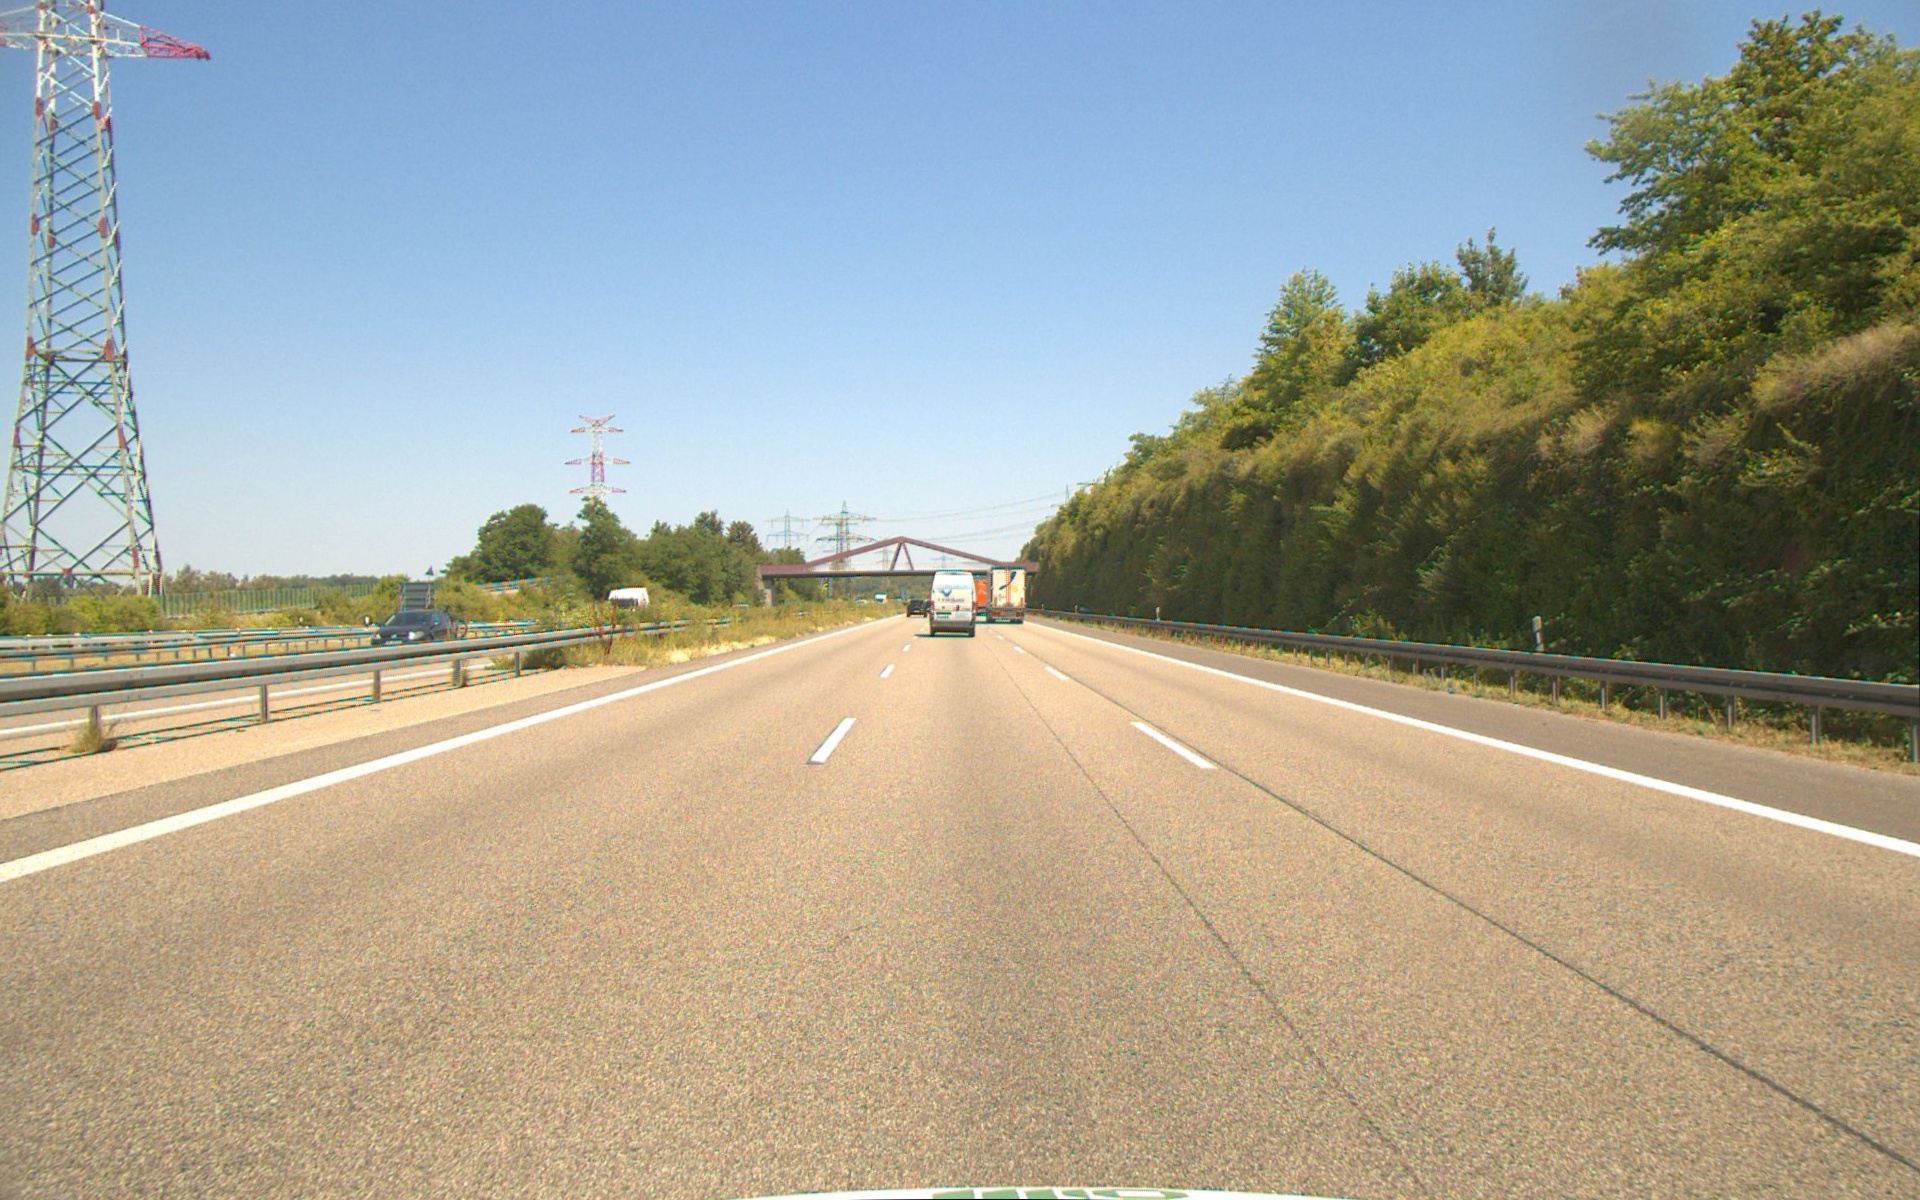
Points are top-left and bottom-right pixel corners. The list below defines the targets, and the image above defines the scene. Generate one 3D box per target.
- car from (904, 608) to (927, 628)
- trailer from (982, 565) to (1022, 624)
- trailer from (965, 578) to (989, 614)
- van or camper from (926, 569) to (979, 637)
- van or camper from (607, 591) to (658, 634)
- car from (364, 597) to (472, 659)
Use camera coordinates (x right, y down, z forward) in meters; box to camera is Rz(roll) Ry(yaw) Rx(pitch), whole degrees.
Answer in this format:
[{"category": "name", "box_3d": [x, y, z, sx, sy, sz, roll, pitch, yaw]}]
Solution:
[{"category": "car", "box_3d": [-4.311, 1.690, 160.355, 1.941, 1.849, 3.813, 2, 0, 1]}, {"category": "trailer", "box_3d": [3.099, -0.409, 124.266, 2.583, 4.131, 12.365, 2, 0, 0]}, {"category": "trailer", "box_3d": [1.886, -0.486, 188.857, 2.583, 3.965, 7.068, 2, 0, 0]}, {"category": "van or camper", "box_3d": [-0.358, 0.124, 73.751, 2.185, 2.831, 5.422, 2, 0, -1]}, {"category": "van or camper", "box_3d": [-20.908, 0.784, 105.887, 2.017, 2.569, 6.389, 2, 0, 0]}, {"category": "car", "box_3d": [-17.251, 0.845, 52.892, 1.914, 1.842, 5.045, 2, 0, -2]}]
